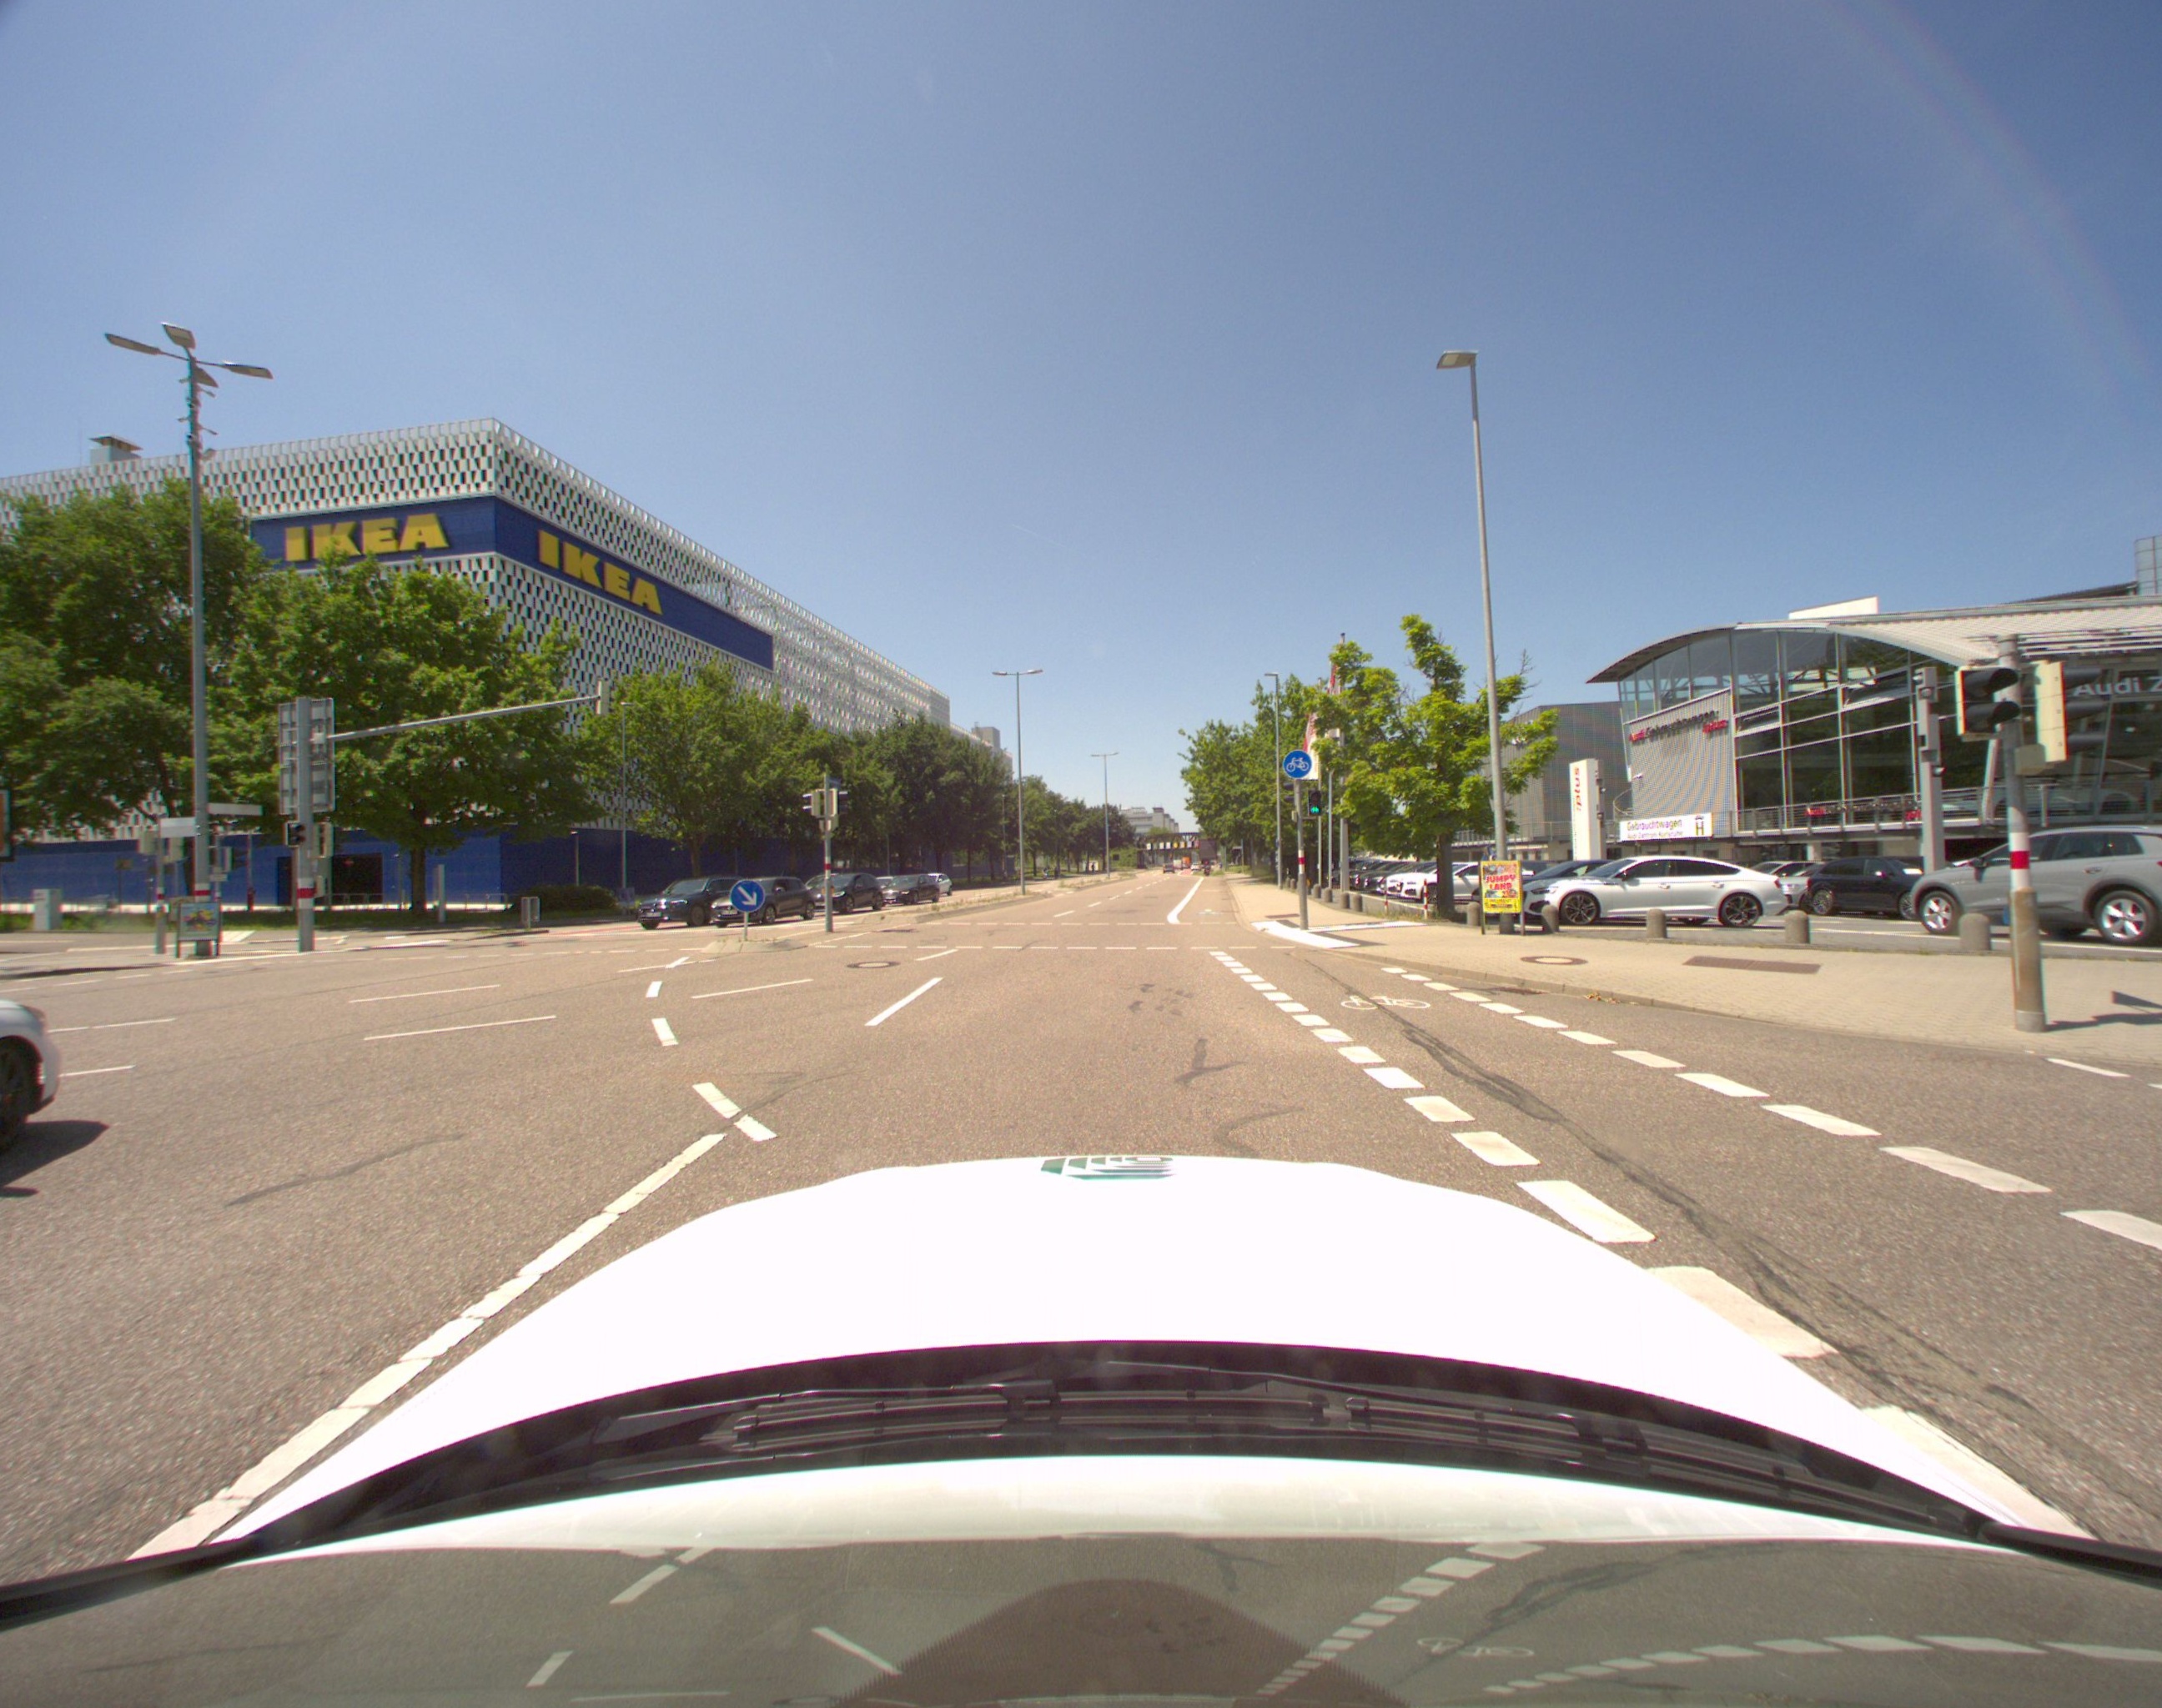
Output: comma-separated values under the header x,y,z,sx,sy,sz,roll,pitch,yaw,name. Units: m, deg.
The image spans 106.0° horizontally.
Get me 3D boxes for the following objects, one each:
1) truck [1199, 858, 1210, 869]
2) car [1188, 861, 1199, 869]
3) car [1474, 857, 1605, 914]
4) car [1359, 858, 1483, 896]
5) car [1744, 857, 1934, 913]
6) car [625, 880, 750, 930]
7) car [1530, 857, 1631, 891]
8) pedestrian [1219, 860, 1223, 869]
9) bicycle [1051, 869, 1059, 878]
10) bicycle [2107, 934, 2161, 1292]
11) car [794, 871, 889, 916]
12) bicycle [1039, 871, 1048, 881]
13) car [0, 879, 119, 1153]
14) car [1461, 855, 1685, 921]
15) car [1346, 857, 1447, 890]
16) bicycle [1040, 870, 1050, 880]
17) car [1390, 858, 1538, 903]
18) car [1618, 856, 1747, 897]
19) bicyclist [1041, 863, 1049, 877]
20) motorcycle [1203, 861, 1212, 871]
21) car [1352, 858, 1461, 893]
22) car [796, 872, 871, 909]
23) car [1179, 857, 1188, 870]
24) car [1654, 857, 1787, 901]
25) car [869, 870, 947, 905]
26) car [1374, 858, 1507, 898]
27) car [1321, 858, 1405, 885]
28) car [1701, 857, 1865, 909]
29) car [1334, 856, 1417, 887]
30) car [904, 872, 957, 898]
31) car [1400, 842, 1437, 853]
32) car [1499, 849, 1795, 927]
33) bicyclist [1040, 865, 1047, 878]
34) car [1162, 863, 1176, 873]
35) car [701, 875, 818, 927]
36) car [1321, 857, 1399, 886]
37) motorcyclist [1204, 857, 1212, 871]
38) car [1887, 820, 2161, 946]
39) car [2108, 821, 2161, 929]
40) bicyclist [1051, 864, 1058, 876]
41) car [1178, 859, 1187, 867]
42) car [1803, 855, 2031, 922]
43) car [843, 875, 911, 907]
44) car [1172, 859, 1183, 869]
x,y,z,sx,sy,sz,roll,pitch,yaw,name
28.470,2.184,187.225,2.444,2.410,7.152,0,0,9,truck
20.544,2.047,148.059,1.913,1.420,4.009,-1,-1,8,car
12.774,0.823,23.036,1.851,1.420,4.676,1,0,11,car
13.379,0.890,32.274,4.201,1.390,1.873,1,-1,9,car
23.259,0.915,25.131,3.962,1.598,1.855,1,-1,9,car
-12.847,1.632,26.868,1.651,1.424,4.048,-2,-1,9,car
25.223,0.987,41.229,3.962,1.654,1.855,1,-1,9,car
22.638,1.734,131.667,0.620,1.374,0.565,-1,-1,7,pedestrian
-3.462,2.560,107.056,0.625,1.159,2.122,-4,-1,8,bicycle
3.792,0.828,1.793,0.626,1.133,1.893,-1,0,-2,bicycle
-9.142,1.475,31.466,1.716,1.505,4.254,-4,-2,10,car
-4.653,2.749,102.048,0.633,1.134,1.976,-2,-1,11,bicycle
-6.109,0.866,2.941,1.796,1.436,4.038,0,0,-24,car
11.305,0.743,18.993,4.072,1.390,1.873,1,-1,9,car
14.586,0.892,37.796,4.077,1.453,1.873,1,-1,9,car
-4.326,2.508,98.826,0.735,1.125,2.440,-2,-1,9,bicycle
12.525,0.835,26.866,4.072,1.364,1.879,1,-1,9,car
24.524,0.915,33.335,3.959,1.573,1.637,1,-1,9,car
-4.353,1.936,98.774,0.740,1.686,0.954,-2,-1,8,bicyclist
13.935,1.333,89.700,0.714,1.105,1.829,0,-1,-1,motorcycle
13.934,0.886,35.089,4.077,1.405,1.873,1,-1,9,car
-11.357,1.625,37.588,1.716,1.544,3.925,-2,-1,9,car
25.094,2.314,198.980,2.061,2.854,6.780,-2,-1,8,car
24.158,0.922,30.877,3.626,1.580,1.646,1,-1,9,car
-8.004,1.527,38.167,1.715,1.446,4.735,-4,-2,12,car
12.973,0.857,29.613,4.075,1.349,1.873,1,-1,9,car
15.844,0.954,45.924,4.207,1.401,1.821,1,0,9,car
23.716,0.951,27.658,3.962,1.622,1.661,1,-1,9,car
14.645,0.848,40.649,3.660,1.453,1.838,1,-1,9,car
-9.318,1.901,50.649,1.716,1.446,4.464,-4,-2,10,car
41.802,-0.784,101.027,3.921,1.211,1.719,-1,-1,4,car
11.206,0.640,16.463,4.564,1.390,1.874,1,-1,10,car
-4.688,2.233,102.001,0.633,1.582,0.887,-2,-1,10,bicyclist
14.087,2.214,130.063,1.889,1.376,4.241,-2,-1,8,car
-9.953,1.424,25.509,1.634,1.389,3.725,-4,-2,10,car
14.792,0.909,43.345,3.660,1.453,1.838,1,-1,9,car
13.950,1.079,89.694,0.717,1.529,0.870,0,-1,-1,motorcyclist
14.592,0.372,11.788,1.856,1.558,4.516,-3,-2,10,car
17.221,0.290,11.116,1.832,1.654,4.011,1,-2,12,car
-3.498,2.091,107.008,0.630,1.629,1.047,-4,-1,8,bicyclist
23.092,2.109,185.658,1.884,1.816,4.010,-2,0,8,car
21.522,0.823,21.302,1.862,1.516,4.731,1,0,12,car
-10.597,1.887,42.609,1.736,1.422,4.634,-3,-1,8,car
18.866,1.953,159.575,1.982,2.014,4.009,-2,-1,8,car
